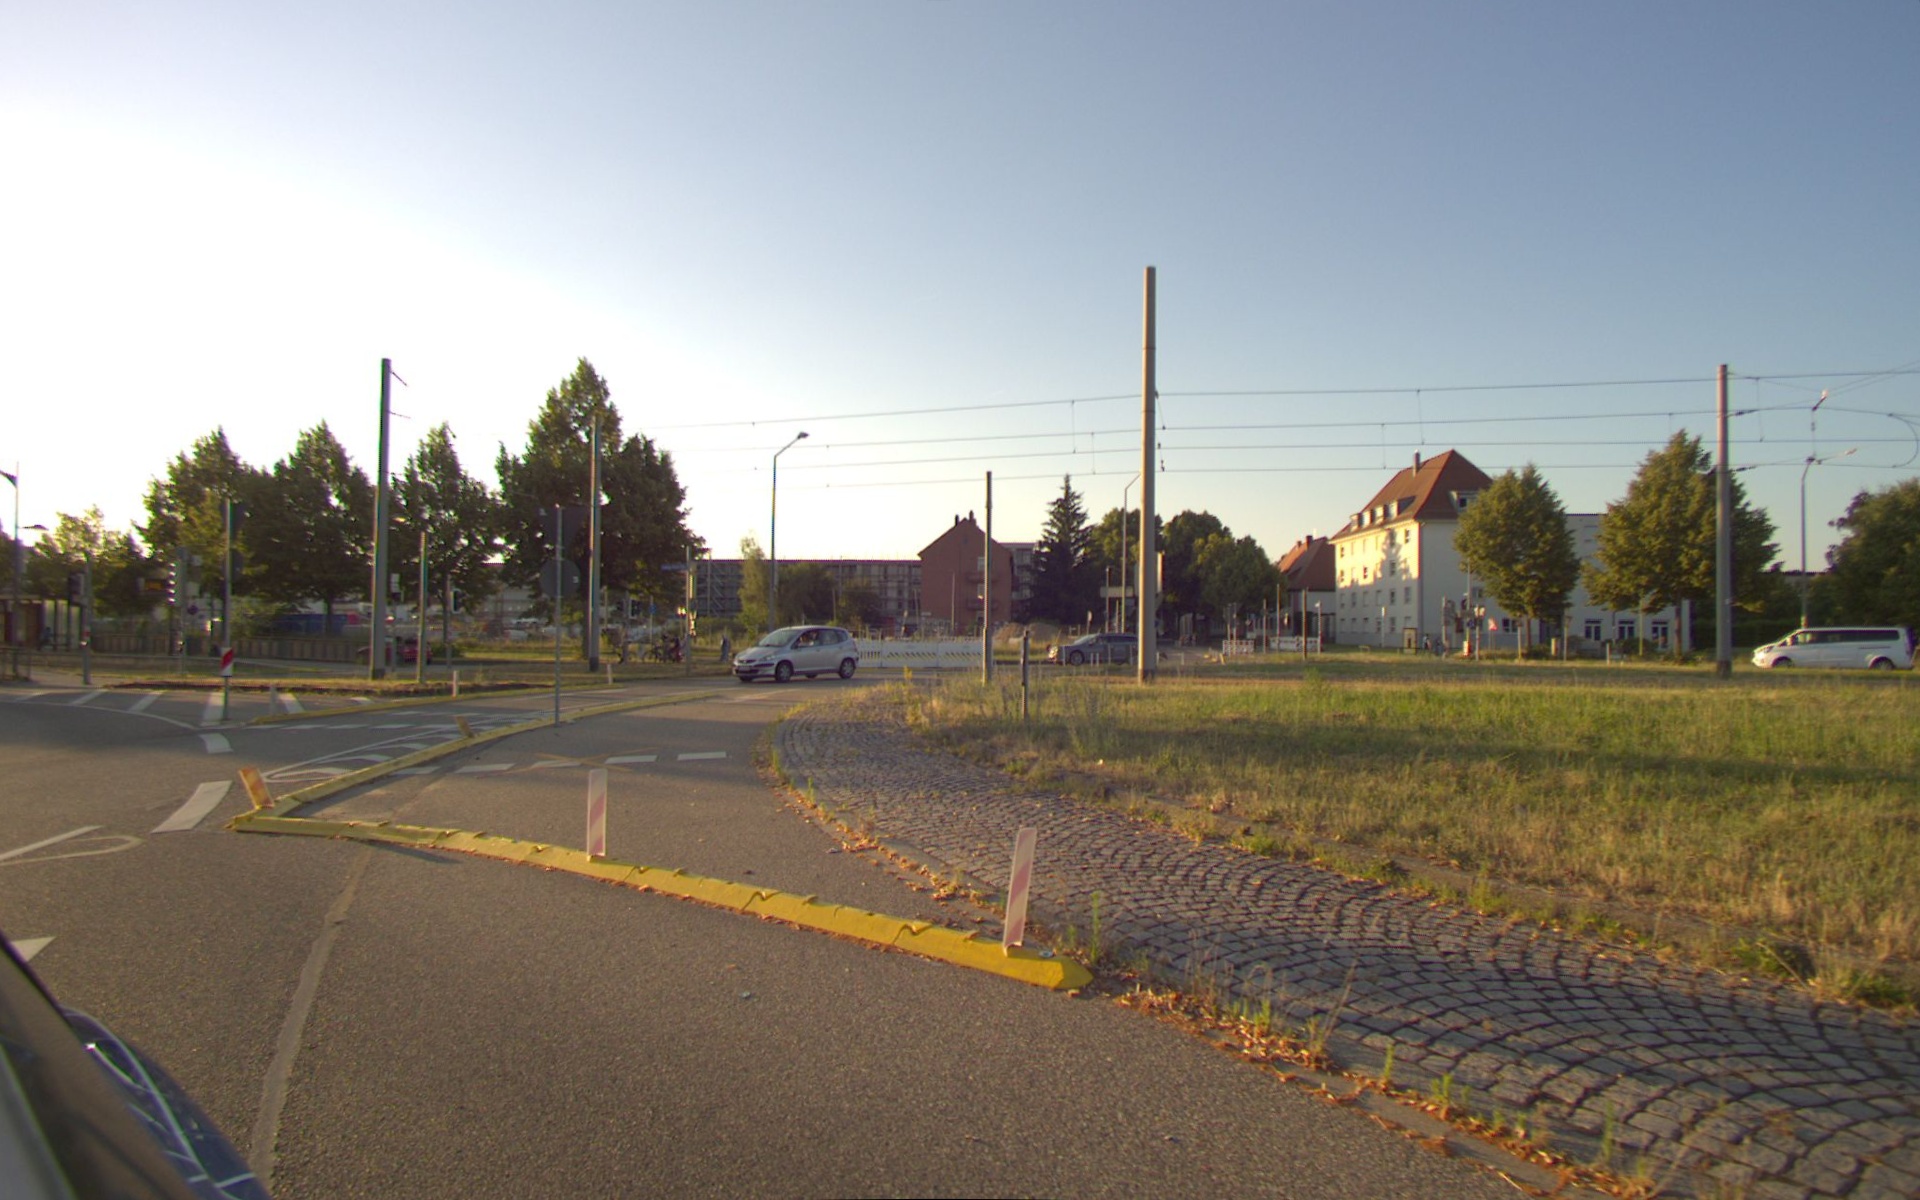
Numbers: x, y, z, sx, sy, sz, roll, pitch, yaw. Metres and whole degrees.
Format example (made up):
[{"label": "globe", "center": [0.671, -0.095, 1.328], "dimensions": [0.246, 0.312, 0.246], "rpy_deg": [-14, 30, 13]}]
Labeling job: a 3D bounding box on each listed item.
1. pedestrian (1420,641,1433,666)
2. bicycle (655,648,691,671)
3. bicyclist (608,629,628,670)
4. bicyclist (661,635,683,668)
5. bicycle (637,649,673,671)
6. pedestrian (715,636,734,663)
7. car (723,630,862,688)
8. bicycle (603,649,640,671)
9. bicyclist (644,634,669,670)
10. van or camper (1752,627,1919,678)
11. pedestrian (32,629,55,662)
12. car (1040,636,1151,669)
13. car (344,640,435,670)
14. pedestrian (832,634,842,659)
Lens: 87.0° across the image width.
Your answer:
[{"label": "pedestrian", "center": [31.558, 3.618, 68.461], "dimensions": [0.586, 1.634, 0.566], "rpy_deg": [0, -2, -1]}, {"label": "bicycle", "center": [-13.355, 2.758, 47.090], "dimensions": [0.534, 0.988, 1.827], "rpy_deg": [-1, -2, 26]}, {"label": "bicyclist", "center": [-16.034, 2.307, 47.481], "dimensions": [0.612, 1.933, 0.672], "rpy_deg": [-1, -2, 26]}, {"label": "bicyclist", "center": [-13.399, 2.389, 47.030], "dimensions": [0.589, 1.517, 0.807], "rpy_deg": [-1, -2, 26]}, {"label": "bicycle", "center": [-14.312, 2.796, 47.512], "dimensions": [0.547, 0.988, 1.827], "rpy_deg": [-1, -2, 26]}, {"label": "pedestrian", "center": [-12.054, 2.543, 51.833], "dimensions": [0.691, 1.377, 0.613], "rpy_deg": [-1, -2, 26]}, {"label": "car", "center": [-4.594, 1.582, 28.075], "dimensions": [1.606, 1.476, 3.660], "rpy_deg": [-2, -3, 40]}, {"label": "bicycle", "center": [-15.933, 2.796, 47.656], "dimensions": [0.547, 0.988, 1.827], "rpy_deg": [-1, -2, 26]}, {"label": "bicyclist", "center": [-14.234, 2.424, 47.509], "dimensions": [0.810, 1.653, 0.807], "rpy_deg": [-1, -2, 26]}, {"label": "van or camper", "center": [37.158, 2.211, 43.069], "dimensions": [5.291, 2.025, 1.892], "rpy_deg": [-2, -2, 36]}, {"label": "pedestrian", "center": [-45.909, 2.285, 50.700], "dimensions": [0.443, 1.645, 0.703], "rpy_deg": [-1, -2, 21]}, {"label": "car", "center": [6.070, 2.340, 45.601], "dimensions": [4.575, 1.426, 1.935], "rpy_deg": [0, -2, -11]}, {"label": "car", "center": [-27.061, 2.598, 48.027], "dimensions": [3.978, 1.342, 1.818], "rpy_deg": [-1, -2, 26]}, {"label": "pedestrian", "center": [-6.744, 2.532, 55.482], "dimensions": [0.495, 1.377, 0.434], "rpy_deg": [0, -2, -8]}]
